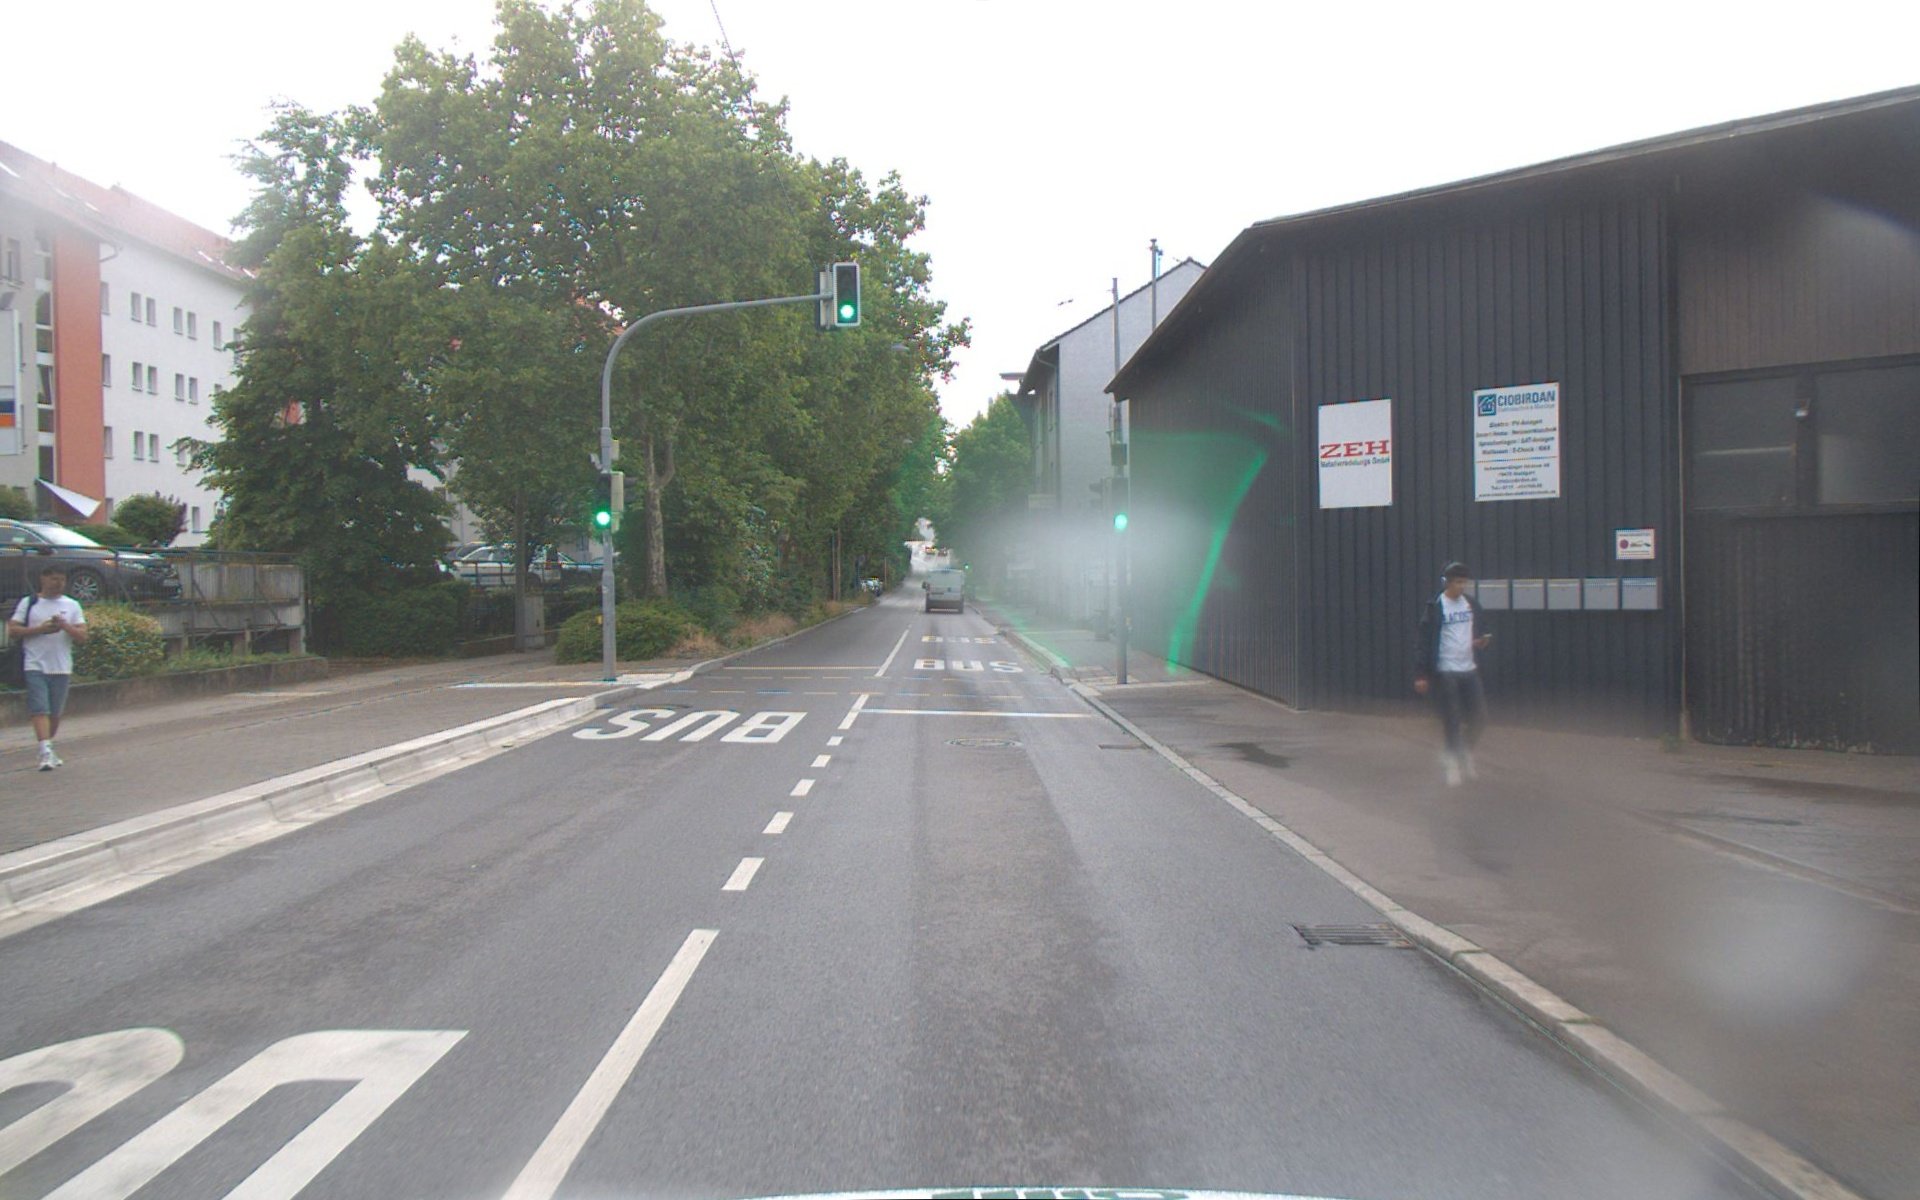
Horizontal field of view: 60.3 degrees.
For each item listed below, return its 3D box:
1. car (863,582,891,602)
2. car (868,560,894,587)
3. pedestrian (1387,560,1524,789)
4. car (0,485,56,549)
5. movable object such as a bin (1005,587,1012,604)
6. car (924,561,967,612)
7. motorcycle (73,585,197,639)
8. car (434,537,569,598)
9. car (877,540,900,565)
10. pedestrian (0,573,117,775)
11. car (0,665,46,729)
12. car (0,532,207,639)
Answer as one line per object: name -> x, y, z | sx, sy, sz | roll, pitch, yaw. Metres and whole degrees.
car -> -7.702, -0.754, 154.039 | 2.170, 1.721, 4.610 | 1, -1, 1
car -> -7.724, -2.575, 161.770 | 2.170, 2.578, 4.610 | 1, 0, 1
pedestrian -> 3.898, 0.579, 13.059 | 0.728, 1.734, 0.900 | 1, -1, -6
car -> -23.814, -2.002, 39.494 | 3.526, 1.418, 1.542 | 1, -1, -3
movable object such as a bin -> 3.155, -0.314, 107.857 | 0.392, 1.085, 0.358 | -3, -1, -7
car -> -0.792, -0.699, 88.873 | 2.236, 2.597, 3.999 | 0, -1, -1
motorcycle -> -14.868, 0.220, 29.815 | 1.912, 0.929, 0.568 | 1, -1, -1
car -> -15.615, -1.090, 56.453 | 4.082, 2.049, 1.719 | 0, 0, 1
car -> -7.891, -5.235, 182.656 | 2.170, 2.334, 4.609 | 1, -4, 1
pedestrian -> -7.682, 0.622, 13.959 | 0.726, 1.626, 0.606 | -4, -2, 2
car -> -23.769, 2.264, 38.998 | 3.526, 1.418, 1.542 | 0, 0, -3
car -> -15.509, -0.239, 28.095 | 4.453, 1.701, 1.999 | 1, -1, -2
